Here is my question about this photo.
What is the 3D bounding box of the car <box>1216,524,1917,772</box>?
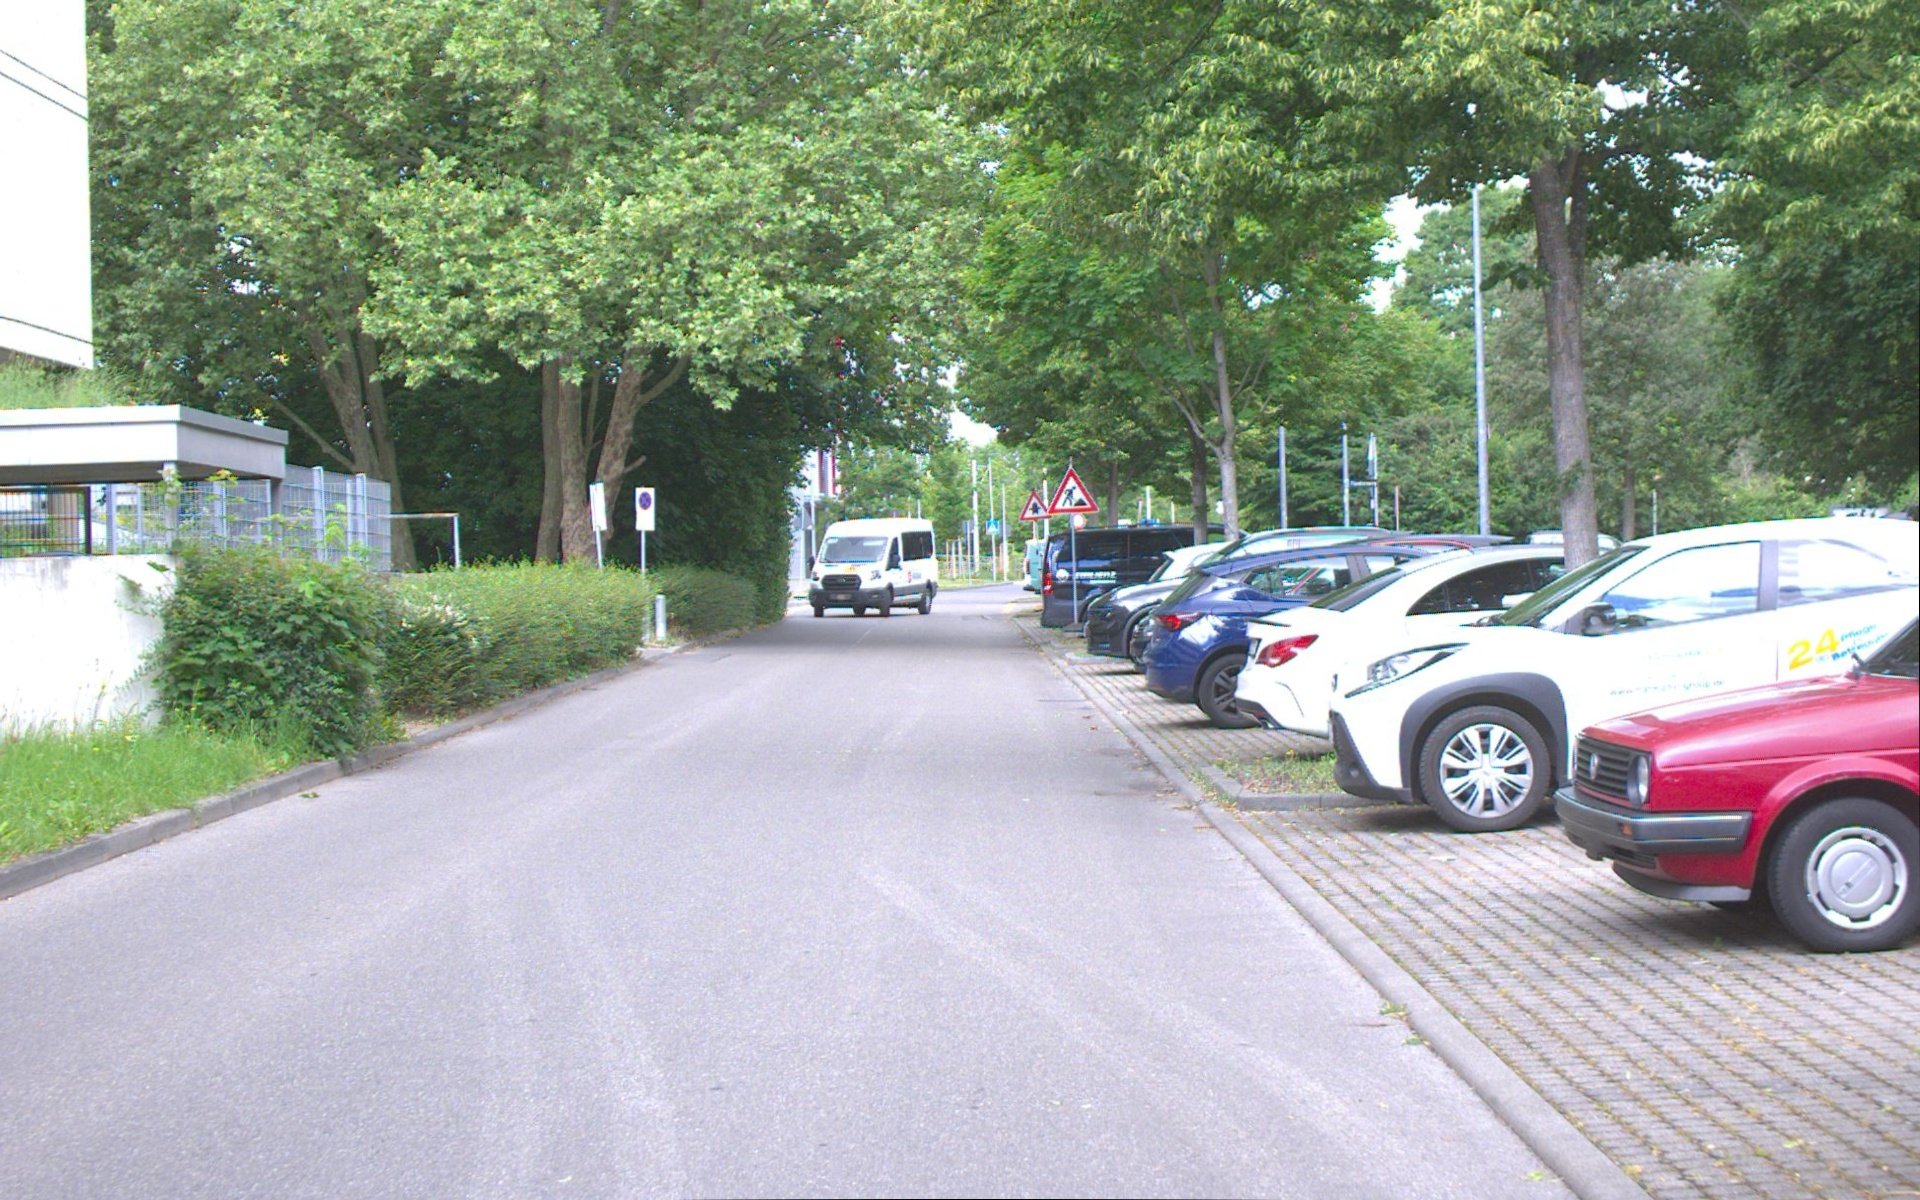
[{"bbox_3d":[4.116,0.313,23.866,4.485,1.449,1.846,-3,0,0],"label":"car"}]

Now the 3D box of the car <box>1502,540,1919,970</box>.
[{"bbox_3d":[4.219,0.459,12.736,4.054,1.417,1.817,-3,0,-1],"label":"car"}]

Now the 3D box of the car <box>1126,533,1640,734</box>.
[{"bbox_3d":[3.506,0.266,29.069,4.072,1.451,1.851,-3,0,1],"label":"car"}]

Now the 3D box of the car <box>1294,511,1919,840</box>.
[{"bbox_3d":[3.765,0.351,18.115,3.840,1.510,1.881,-3,0,3],"label":"car"}]

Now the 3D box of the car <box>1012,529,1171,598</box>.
[{"bbox_3d":[4.229,-1.174,110.989,4.972,1.965,1.847,-3,0,1],"label":"car"}]

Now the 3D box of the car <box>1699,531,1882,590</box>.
[{"bbox_3d":[21.504,-1.011,89.144,4.393,1.423,1.703,-1,0,6],"label":"car"}]

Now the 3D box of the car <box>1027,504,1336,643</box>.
[{"bbox_3d":[3.665,-0.451,57.605,4.954,2.007,2.166,-3,1,2],"label":"car"}]

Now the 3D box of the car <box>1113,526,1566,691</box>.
[{"bbox_3d":[4.015,0.067,37.005,4.636,1.512,1.982,-3,1,2],"label":"car"}]

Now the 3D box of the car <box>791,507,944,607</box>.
[{"bbox_3d":[-2.311,-1.110,88.116,2.134,2.467,6.272,0,1,16],"label":"car"}]

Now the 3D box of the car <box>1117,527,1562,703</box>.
[{"bbox_3d":[3.717,0.137,34.158,4.072,1.512,1.851,-3,0,-3],"label":"car"}]

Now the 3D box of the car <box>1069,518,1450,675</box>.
[{"bbox_3d":[3.623,-0.063,42.177,4.415,1.670,2.082,-3,1,0],"label":"car"}]

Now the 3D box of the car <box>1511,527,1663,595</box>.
[{"bbox_3d":[16.338,-1.012,89.787,3.780,1.662,1.767,-2,0,8],"label":"car"}]

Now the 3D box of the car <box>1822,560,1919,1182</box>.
[{"bbox_3d":[4.198,0.531,7.629,4.007,1.417,1.792,-3,0,-5],"label":"car"}]

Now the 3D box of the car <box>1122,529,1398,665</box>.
[{"bbox_3d":[3.872,-0.059,44.782,3.379,1.569,1.796,-3,1,1],"label":"car"}]
